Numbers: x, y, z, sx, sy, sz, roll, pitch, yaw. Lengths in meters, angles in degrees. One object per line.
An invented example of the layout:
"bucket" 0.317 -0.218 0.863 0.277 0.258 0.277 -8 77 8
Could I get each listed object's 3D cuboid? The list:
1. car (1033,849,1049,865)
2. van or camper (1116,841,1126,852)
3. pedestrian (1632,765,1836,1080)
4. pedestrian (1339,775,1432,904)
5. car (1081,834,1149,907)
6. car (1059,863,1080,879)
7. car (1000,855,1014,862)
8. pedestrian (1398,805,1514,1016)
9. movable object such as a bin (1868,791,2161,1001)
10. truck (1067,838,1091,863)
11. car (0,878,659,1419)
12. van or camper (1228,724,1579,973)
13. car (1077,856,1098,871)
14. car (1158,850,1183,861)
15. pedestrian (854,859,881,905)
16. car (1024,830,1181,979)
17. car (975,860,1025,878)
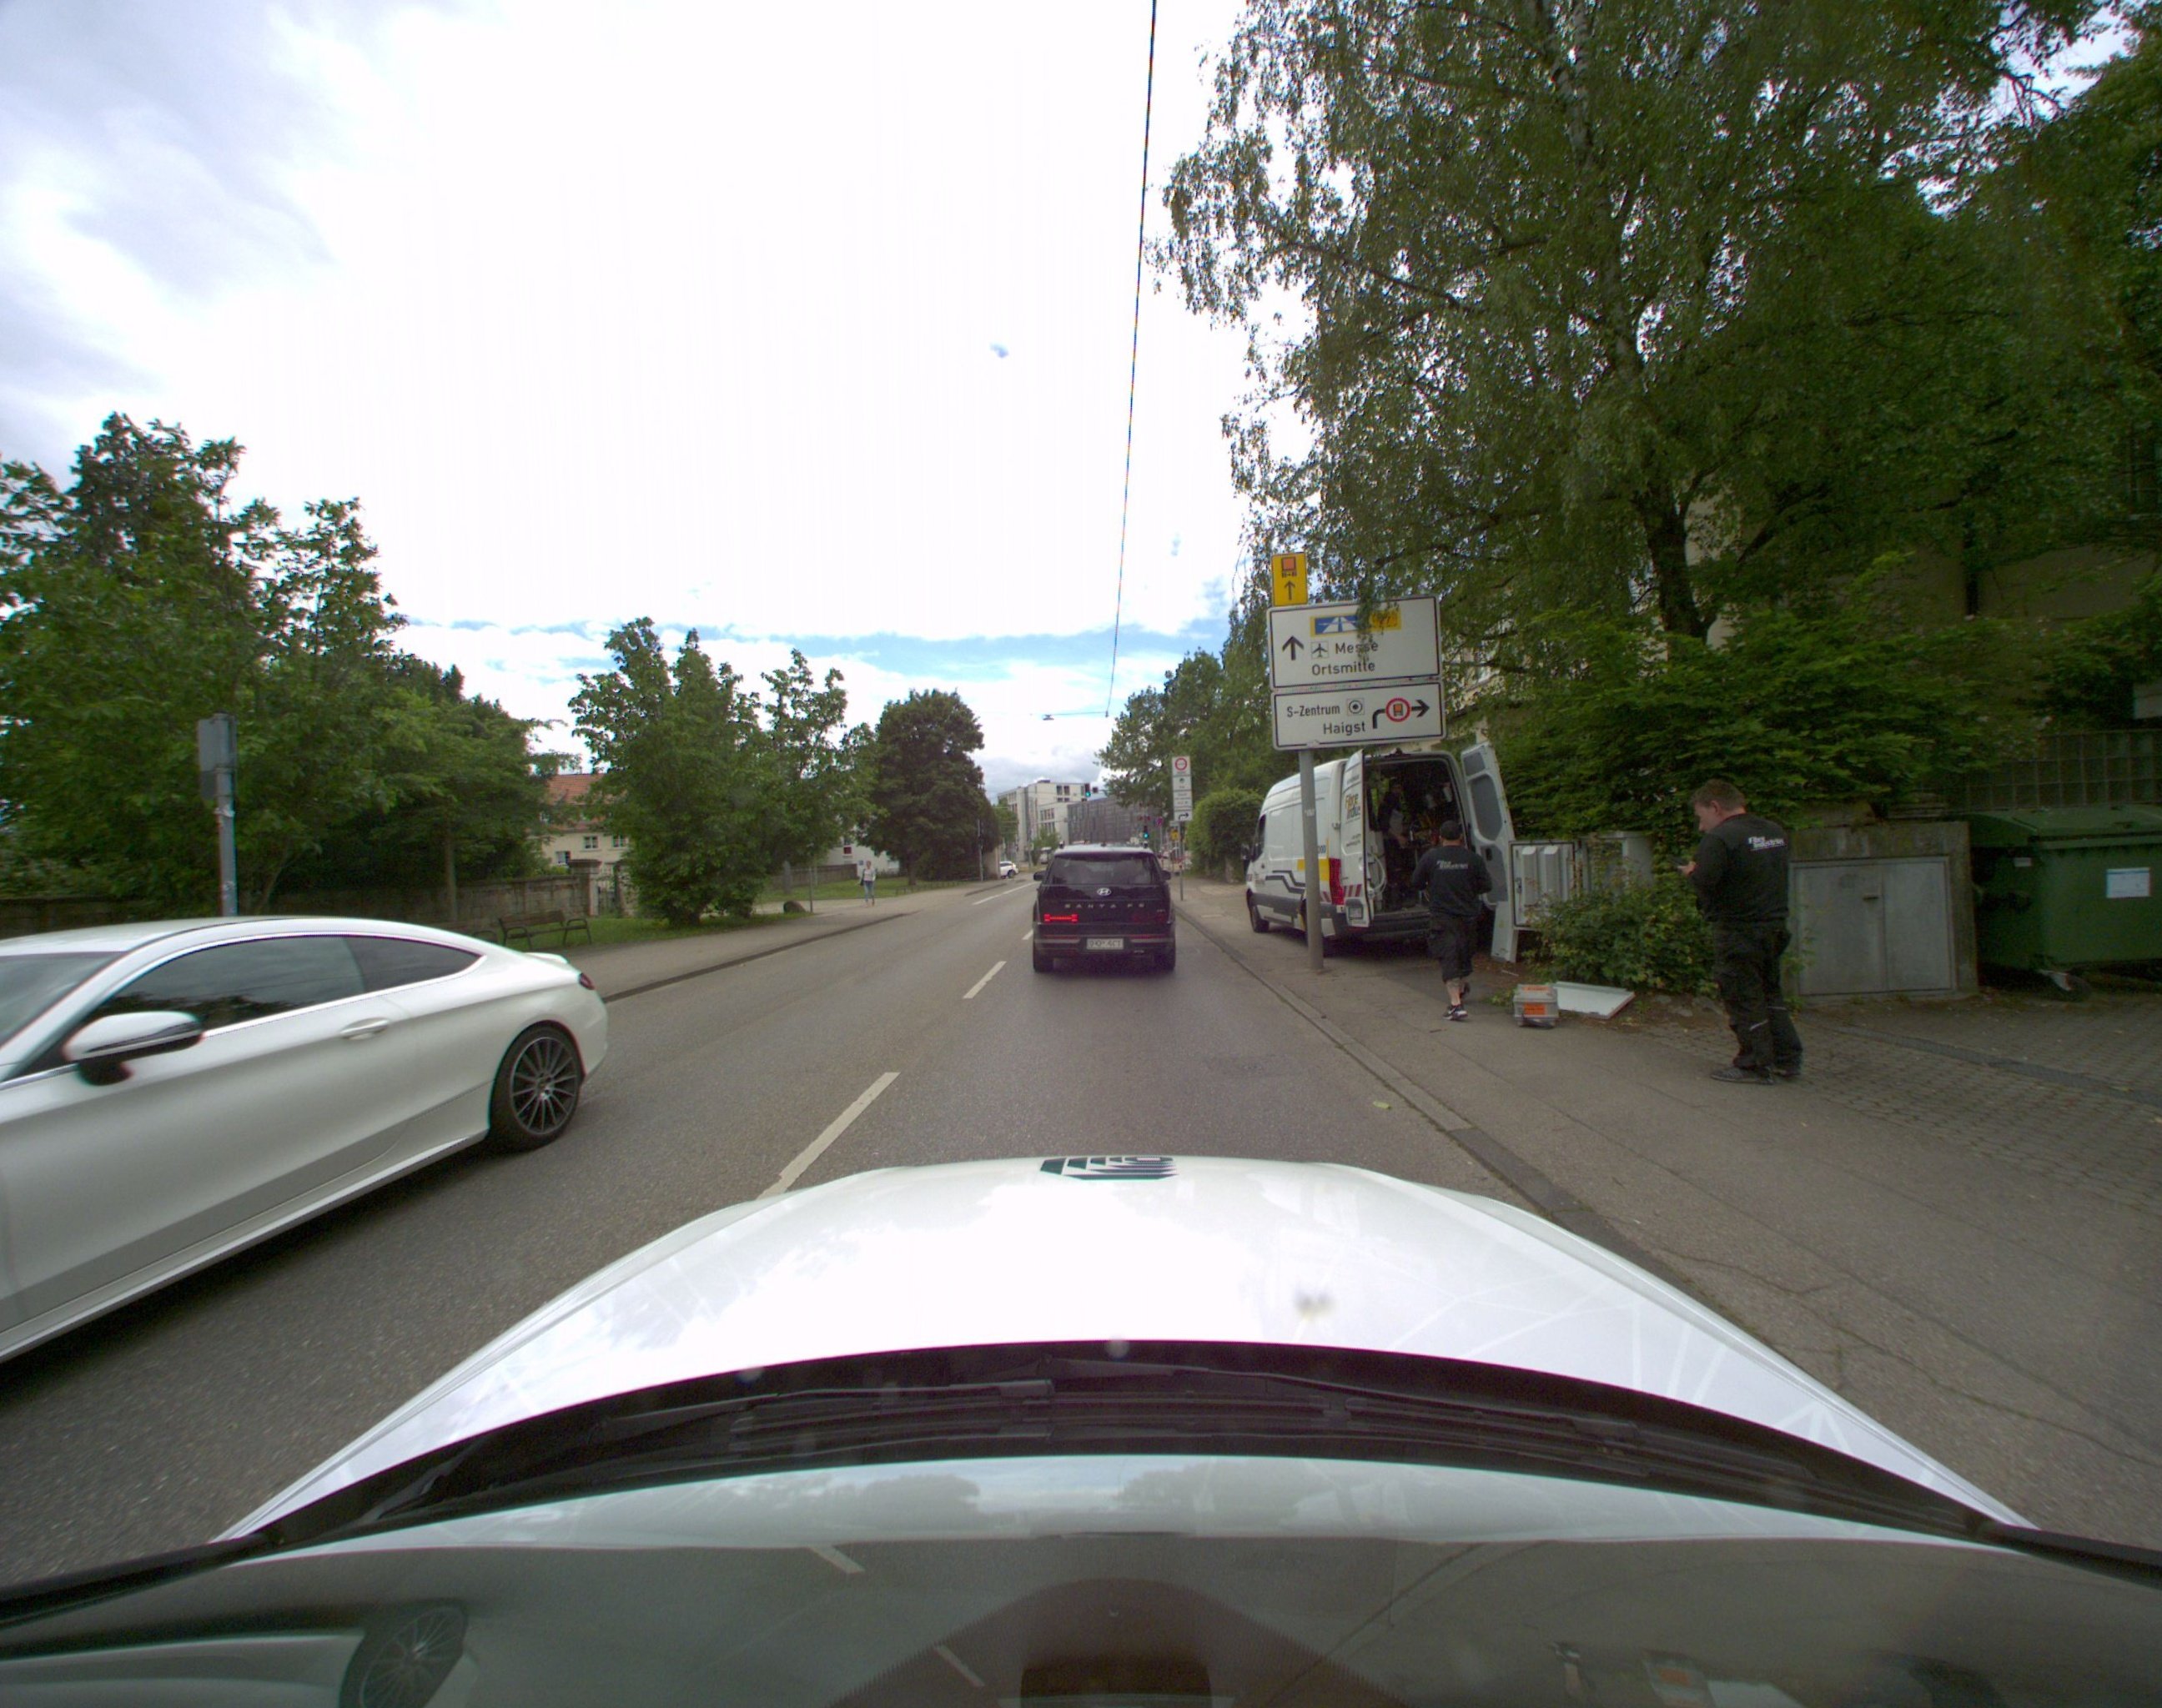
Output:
"car" -6.442 0.484 131.353 2.328 2.315 4.950 -2 0 -4
"van or camper" 7.805 -1.473 159.408 1.791 1.999 3.821 1 0 -2
"pedestrian" 3.885 0.391 4.905 0.644 1.751 0.656 -2 -1 8
"pedestrian" 4.067 -0.183 10.906 0.739 1.643 0.795 -3 -1 -22
"car" 1.024 0.469 24.924 1.890 2.042 3.996 0 0 2
"car" -1.212 1.708 82.140 1.880 1.420 3.994 -3 0 -4
"car" -19.223 1.205 211.419 2.005 1.837 4.554 -2 0 -31
"pedestrian" 3.253 0.472 7.134 0.743 1.720 0.796 -5 0 22
"movable object such as a bin" 7.732 0.291 6.571 1.415 1.462 1.298 -4 0 1
"truck" -0.404 -0.539 134.110 3.101 3.859 9.607 -2 0 -4
"car" -3.910 0.940 3.146 1.808 1.419 4.830 -5 -1 2
"van or camper" 4.099 0.000 12.143 2.333 2.494 6.600 -5 -1 -1
"car" 0.714 1.107 94.319 1.881 1.638 3.889 -2 0 -6
"car" 14.535 0.300 133.118 3.968 1.584 1.892 -3 0 4
"pedestrian" -8.148 1.057 31.075 0.764 1.748 0.904 -1 -1 1
"car" 0.328 0.619 11.848 1.890 1.776 3.996 0 0 2
"car" -7.645 1.388 76.878 4.285 1.538 1.824 -2 0 -34
